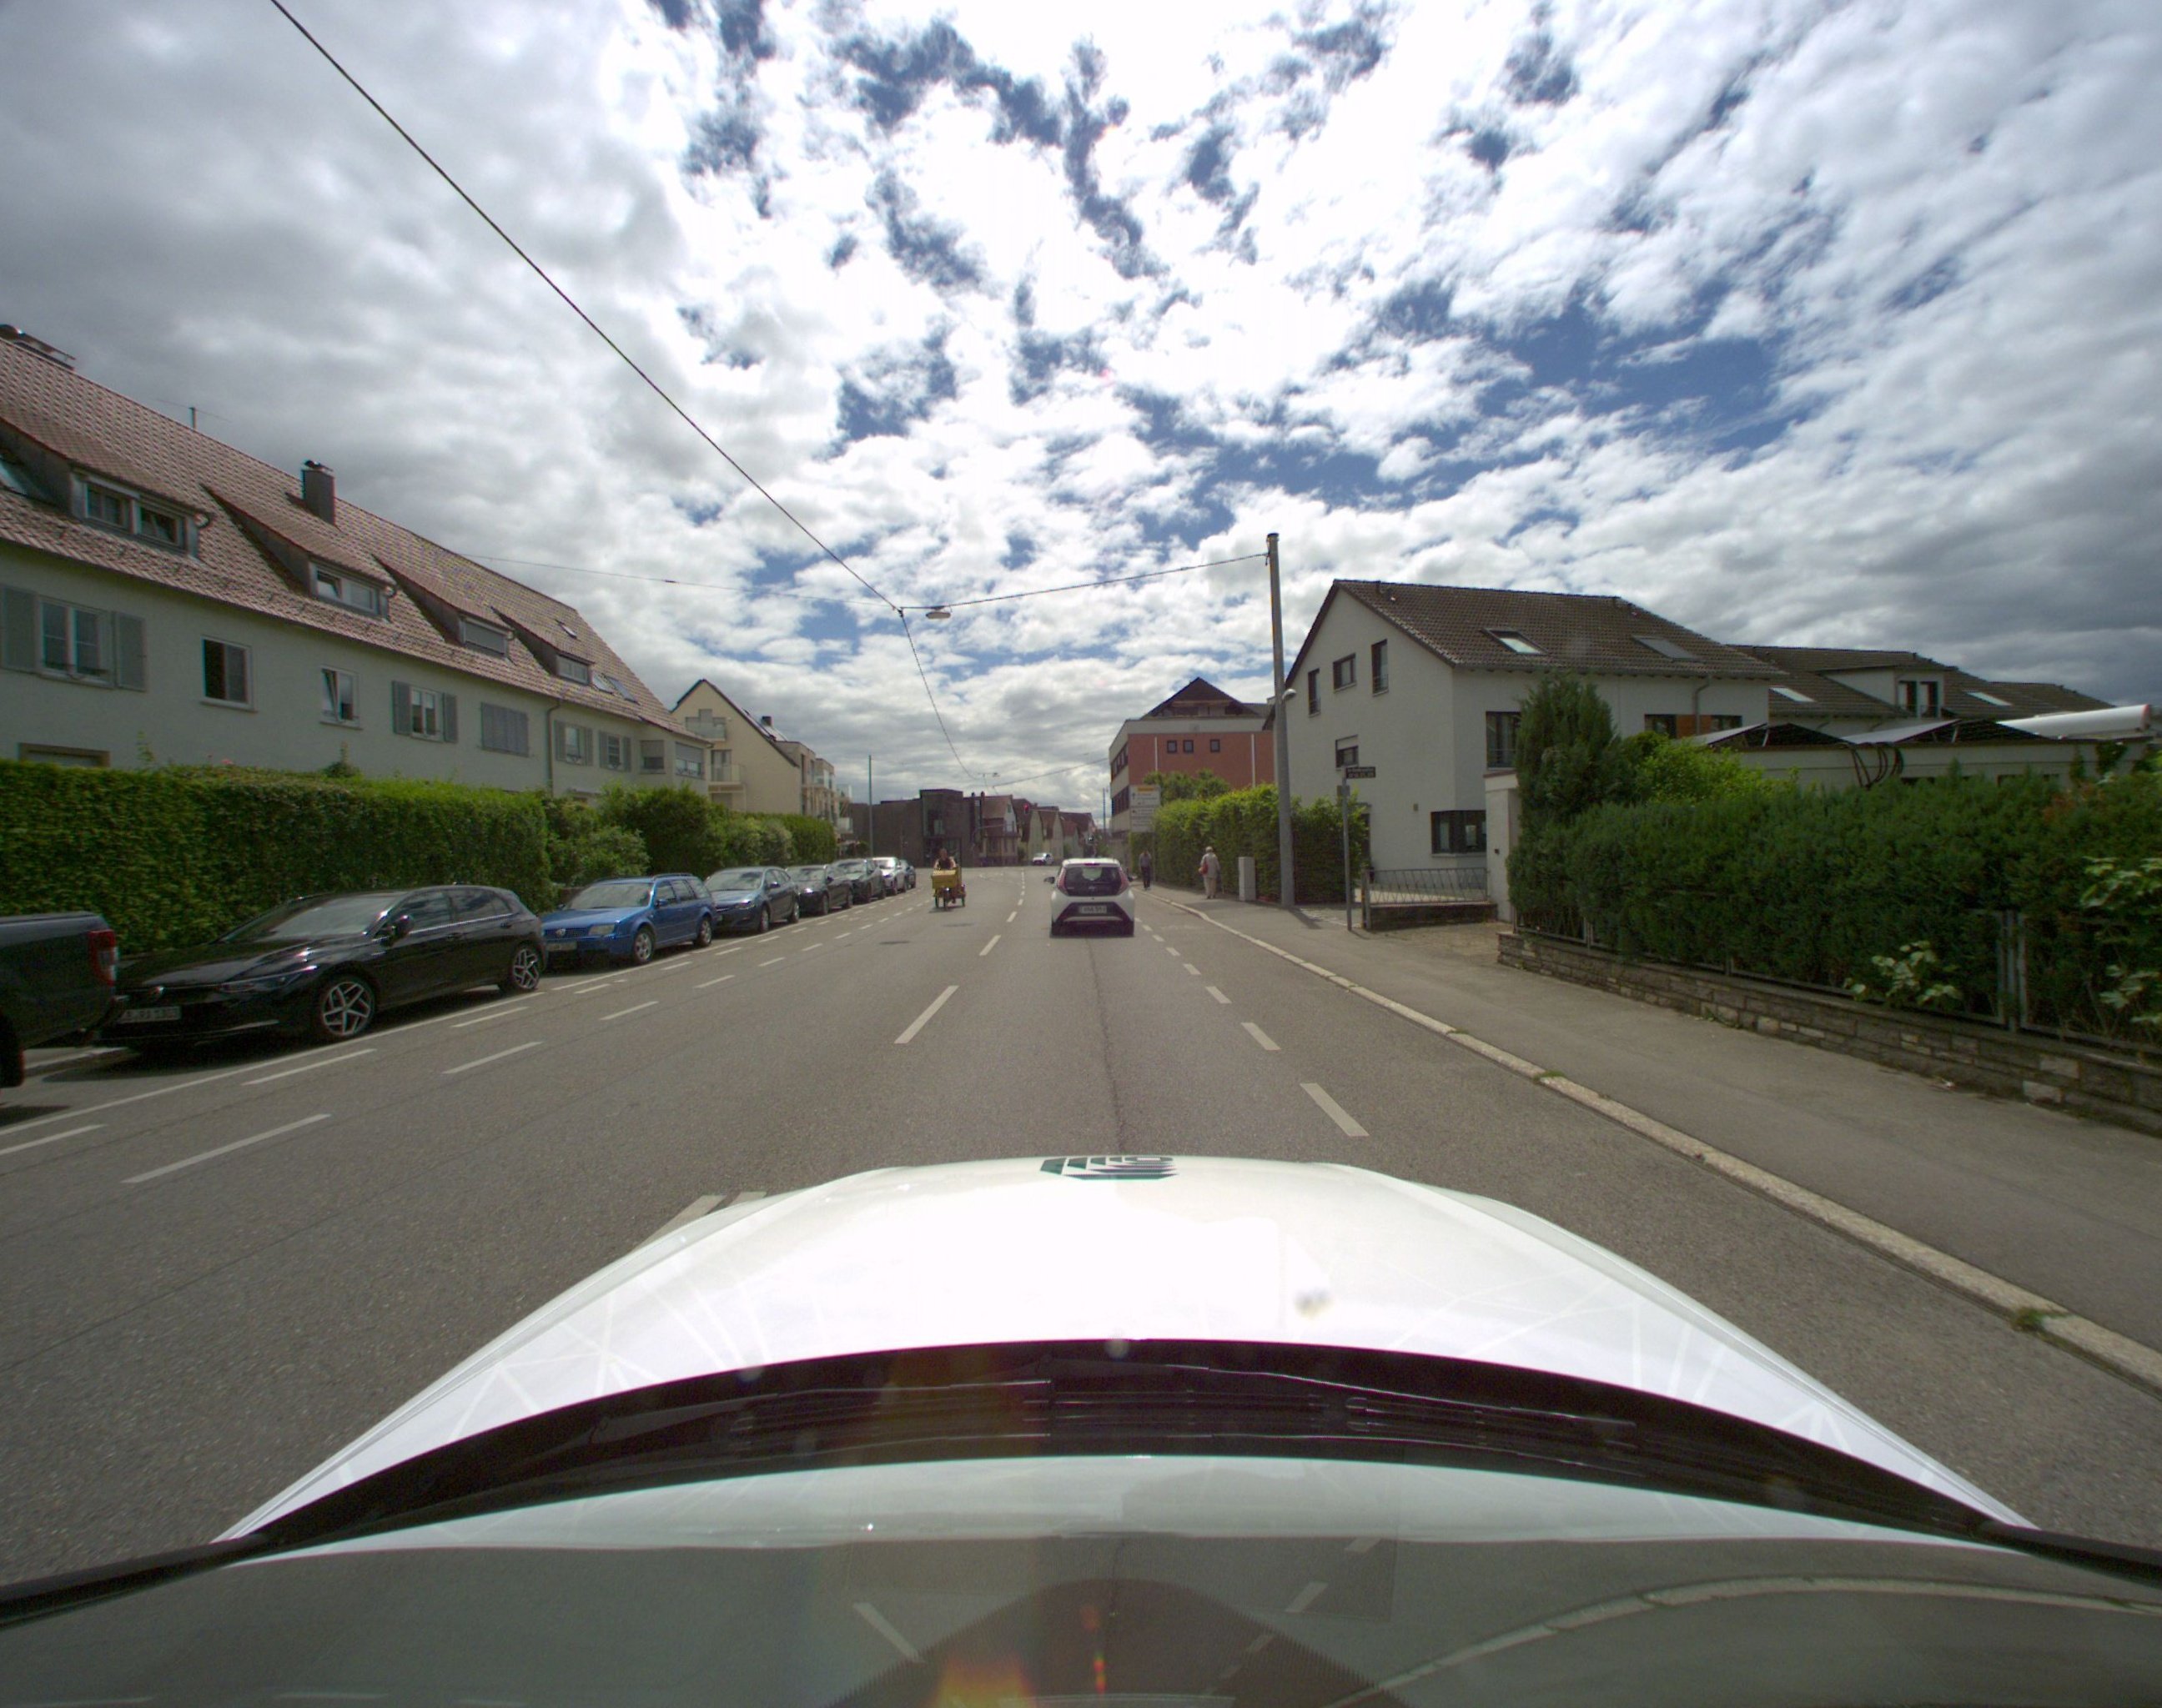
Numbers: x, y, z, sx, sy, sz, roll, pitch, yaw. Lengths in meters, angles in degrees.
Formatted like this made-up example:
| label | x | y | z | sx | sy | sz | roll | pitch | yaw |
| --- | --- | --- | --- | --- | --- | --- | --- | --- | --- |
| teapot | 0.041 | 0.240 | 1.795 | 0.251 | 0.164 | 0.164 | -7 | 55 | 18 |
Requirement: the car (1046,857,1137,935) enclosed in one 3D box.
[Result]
| label | x | y | z | sx | sy | sz | roll | pitch | yaw |
| --- | --- | --- | --- | --- | --- | --- | --- | --- | --- |
| car | 0.198 | 0.789 | 16.905 | 1.692 | 1.456 | 3.298 | 0 | 0 | 0 |

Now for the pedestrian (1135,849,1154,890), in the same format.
| label | x | y | z | sx | sy | sz | roll | pitch | yaw |
| --- | --- | --- | --- | --- | --- | --- | --- | --- | --- |
| pedestrian | 2.572 | 0.627 | 33.080 | 0.601 | 1.605 | 0.835 | -3 | 0 | -2 |

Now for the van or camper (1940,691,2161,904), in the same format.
| label | x | y | z | sx | sy | sz | roll | pitch | yaw |
| --- | --- | --- | --- | --- | --- | --- | --- | --- | --- |
| van or camper | 19.979 | -0.863 | 15.644 | 8.702 | 3.302 | 2.398 | 0 | 0 | -27 |

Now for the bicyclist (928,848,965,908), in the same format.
| label | x | y | z | sx | sy | sz | roll | pitch | yaw |
| --- | --- | --- | --- | --- | --- | --- | --- | --- | --- |
| bicyclist | -3.960 | 0.684 | 24.092 | 0.789 | 1.713 | 1.209 | -2 | 0 | 1 |

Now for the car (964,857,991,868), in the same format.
| label | x | y | z | sx | sy | sz | roll | pitch | yaw |
| --- | --- | --- | --- | --- | --- | --- | --- | --- | --- |
| car | -15.142 | 1.229 | 119.108 | 3.594 | 1.605 | 1.695 | 0 | 0 | 8 |

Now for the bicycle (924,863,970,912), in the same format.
| label | x | y | z | sx | sy | sz | roll | pitch | yaw |
| --- | --- | --- | --- | --- | --- | --- | --- | --- | --- |
| bicycle | -3.936 | 0.967 | 24.126 | 0.860 | 1.301 | 2.661 | -2 | 0 | 1 |

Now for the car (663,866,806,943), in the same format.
| label | x | y | z | sx | sy | sz | roll | pitch | yaw |
| --- | --- | --- | --- | --- | --- | --- | --- | --- | --- |
| car | -8.006 | 1.086 | 19.296 | 1.775 | 1.491 | 4.557 | -2 | 0 | -5 |

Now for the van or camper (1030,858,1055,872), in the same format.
| label | x | y | z | sx | sy | sz | roll | pitch | yaw |
| --- | --- | --- | --- | --- | --- | --- | --- | --- | --- |
| van or camper | -5.345 | 1.555 | 113.905 | 2.101 | 1.926 | 5.302 | 0 | 0 | 12 |

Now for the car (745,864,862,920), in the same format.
| label | x | y | z | sx | sy | sz | roll | pitch | yaw |
| --- | --- | --- | --- | --- | --- | --- | --- | --- | --- |
| car | -8.319 | 1.088 | 24.912 | 1.988 | 1.408 | 4.687 | -2 | 0 | -1 |

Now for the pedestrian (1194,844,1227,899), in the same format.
| label | x | y | z | sx | sy | sz | roll | pitch | yaw |
| --- | --- | --- | --- | --- | --- | --- | --- | --- | --- |
| pedestrian | 3.965 | 0.530 | 24.968 | 0.797 | 1.617 | 0.653 | -3 | 0 | -2 |

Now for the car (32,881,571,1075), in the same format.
| label | x | y | z | sx | sy | sz | roll | pitch | yaw |
| --- | --- | --- | --- | --- | --- | --- | --- | --- | --- |
| car | -7.886 | 1.106 | 8.997 | 1.772 | 1.417 | 4.337 | -2 | 0 | -1 |

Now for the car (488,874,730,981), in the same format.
| label | x | y | z | sx | sy | sz | roll | pitch | yaw |
| --- | --- | --- | --- | --- | --- | --- | --- | --- | --- |
| car | -7.946 | 1.135 | 14.298 | 1.773 | 1.417 | 4.436 | -2 | 0 | -3 |

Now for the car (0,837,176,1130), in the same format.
| label | x | y | z | sx | sy | sz | roll | pitch | yaw |
| --- | --- | --- | --- | --- | --- | --- | --- | --- | --- |
| car | -8.006 | 0.897 | 3.551 | 1.987 | 1.895 | 5.402 | -4 | 0 | 0 |

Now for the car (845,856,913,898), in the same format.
| label | x | y | z | sx | sy | sz | roll | pitch | yaw |
| --- | --- | --- | --- | --- | --- | --- | --- | --- | --- |
| car | -8.780 | 0.963 | 35.759 | 1.989 | 1.650 | 4.512 | -2 | 0 | -3 |

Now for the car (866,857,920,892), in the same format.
| label | x | y | z | sx | sy | sz | roll | pitch | yaw |
| --- | --- | --- | --- | --- | --- | --- | --- | --- | --- |
| car | -9.381 | 0.993 | 40.955 | 1.990 | 1.587 | 4.481 | -2 | 0 | -5 |

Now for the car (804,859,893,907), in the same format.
| label | x | y | z | sx | sy | sz | roll | pitch | yaw |
| --- | --- | --- | --- | --- | --- | --- | --- | --- | --- |
| car | -8.597 | 1.030 | 30.564 | 1.988 | 1.564 | 4.687 | -2 | 0 | -1 |

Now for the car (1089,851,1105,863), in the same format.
| label | x | y | z | sx | sy | sz | roll | pitch | yaw |
| --- | --- | --- | --- | --- | --- | --- | --- | --- | --- |
| car | 2.615 | 0.481 | 135.969 | 1.981 | 1.904 | 4.012 | 0 | 0 | 11 |
